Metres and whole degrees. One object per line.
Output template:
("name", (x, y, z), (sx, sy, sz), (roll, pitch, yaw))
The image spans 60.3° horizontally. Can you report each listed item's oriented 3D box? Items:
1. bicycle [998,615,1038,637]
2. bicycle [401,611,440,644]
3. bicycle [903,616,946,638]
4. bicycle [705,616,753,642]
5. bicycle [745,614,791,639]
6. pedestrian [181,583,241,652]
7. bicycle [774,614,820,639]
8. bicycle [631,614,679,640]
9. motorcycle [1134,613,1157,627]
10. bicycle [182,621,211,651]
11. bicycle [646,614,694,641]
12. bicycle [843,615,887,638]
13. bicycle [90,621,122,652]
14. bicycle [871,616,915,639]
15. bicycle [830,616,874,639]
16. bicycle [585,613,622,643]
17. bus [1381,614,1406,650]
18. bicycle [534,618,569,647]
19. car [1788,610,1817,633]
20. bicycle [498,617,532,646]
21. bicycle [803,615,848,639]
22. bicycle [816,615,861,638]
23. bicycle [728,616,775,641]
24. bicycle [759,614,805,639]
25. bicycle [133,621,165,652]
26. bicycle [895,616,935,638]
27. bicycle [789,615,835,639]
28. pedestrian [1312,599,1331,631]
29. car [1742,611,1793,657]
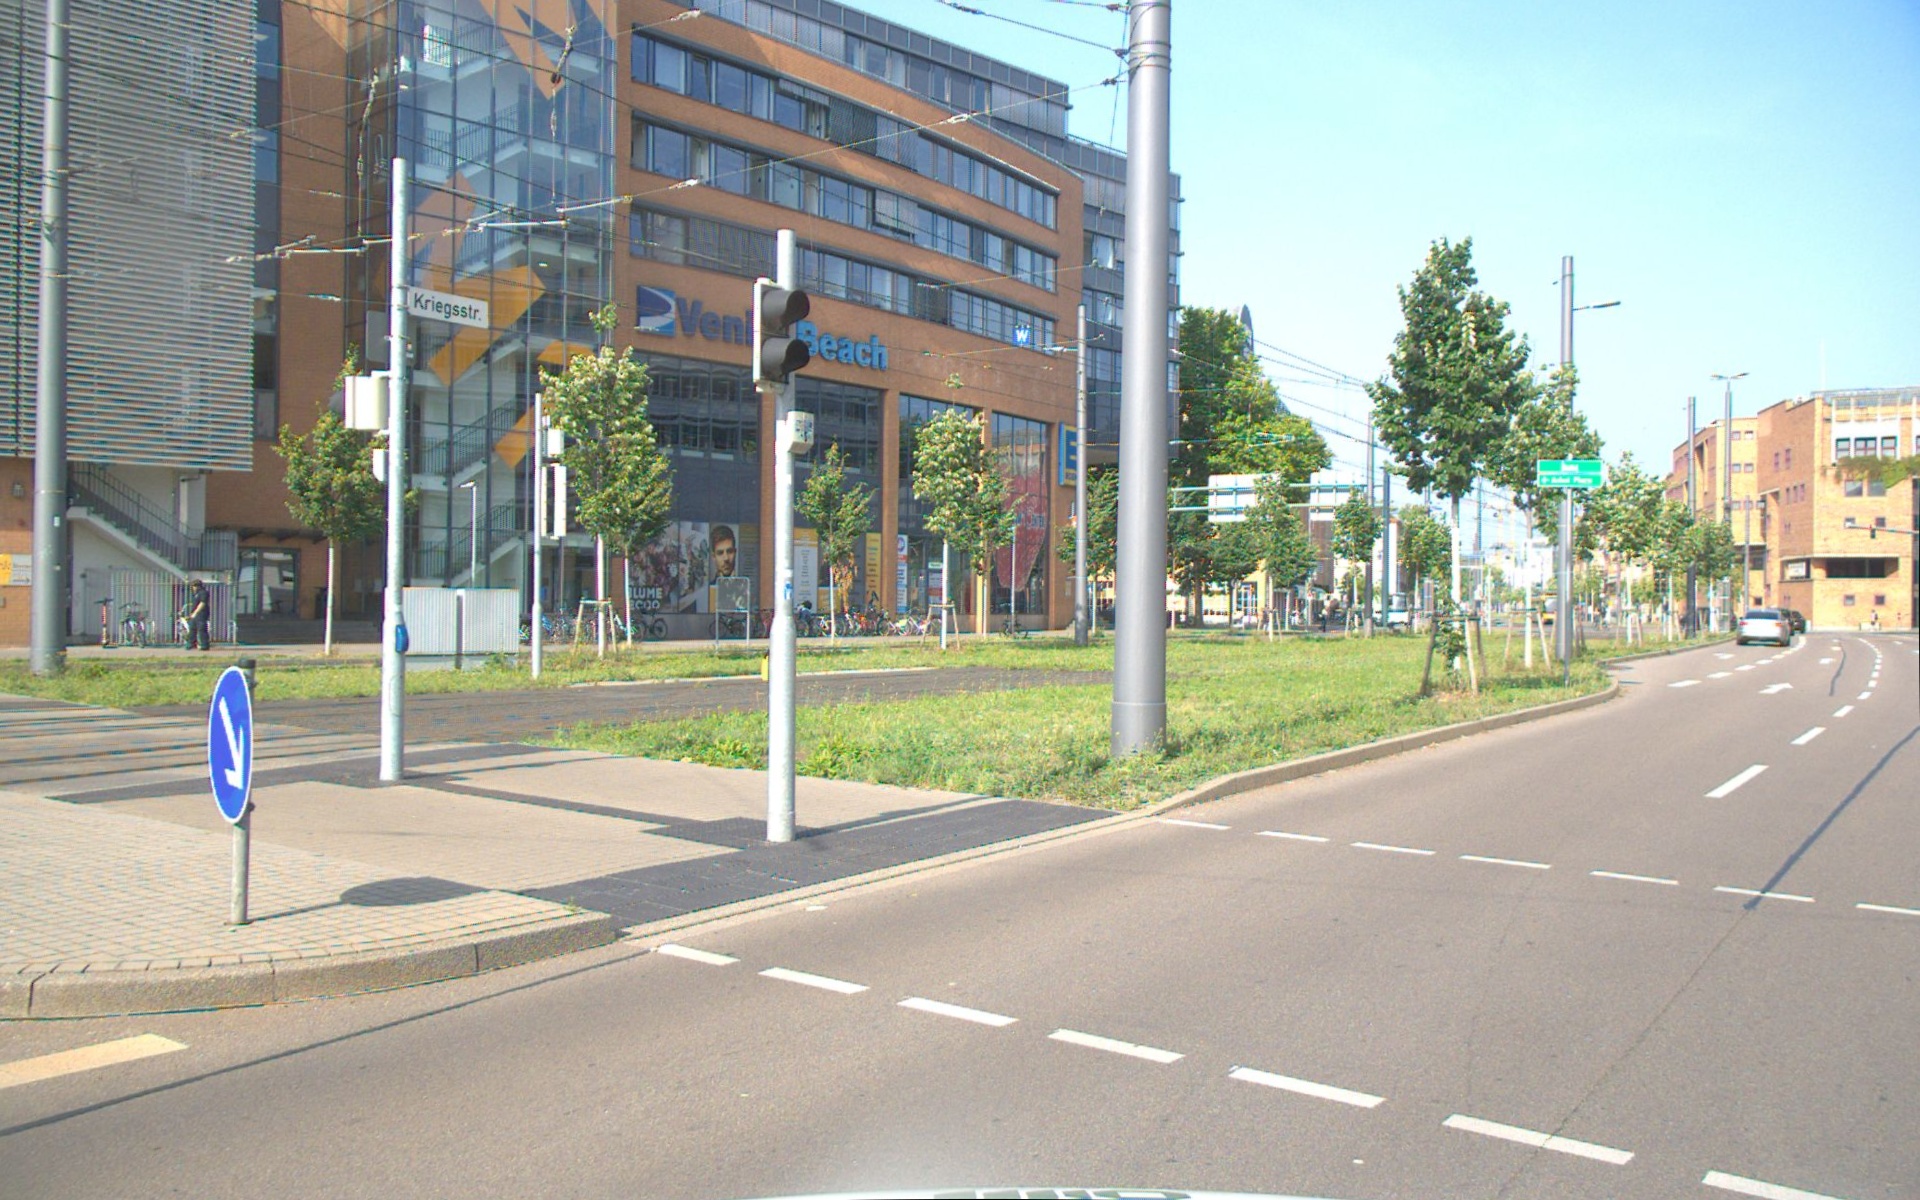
("bicycle", (2.454, 1.095, 70.032), (1.652, 0.923, 0.705), (0, -1, 44))
("bicycle", (-16.136, 0.808, 49.458), (1.557, 0.956, 0.408), (0, 0, 44))
("bicycle", (-1.568, 1.193, 73.055), (2.016, 0.937, 0.570), (0, 0, 39))
("bicycle", (-8.817, 1.105, 63.110), (2.016, 0.937, 0.570), (0, 0, 39))
("bicycle", (-7.543, 1.026, 64.849), (2.016, 0.937, 0.570), (0, 0, 39))
("pedestrian", (-19.319, 0.446, 42.666), (0.806, 1.749, 1.168), (0, 0, 44))
("bicycle", (-6.548, 1.062, 66.237), (2.016, 0.937, 0.570), (0, 0, 39))
("bicycle", (-11.117, 0.976, 60.269), (2.016, 0.937, 0.570), (0, 0, 39))
("motorcycle", (13.769, 1.475, 122.623), (1.655, 1.012, 0.284), (1, 1, 20))
("bicycle", (-20.008, 0.944, 43.342), (0.358, 0.765, 1.007), (1, 0, -44))
("bicycle", (-10.688, 1.002, 60.865), (2.016, 0.937, 0.570), (0, 0, 39))
("bicycle", (-4.015, 1.131, 69.855), (2.016, 0.937, 0.570), (0, 0, 39))
("bicycle", (-21.584, 0.916, 41.809), (0.449, 0.765, 0.990), (1, 0, -44))
("bicycle", (-2.875, 1.165, 71.072), (2.016, 0.937, 0.570), (0, 0, 39))
("bicycle", (-4.524, 1.137, 69.114), (2.016, 0.937, 0.570), (0, 0, 39))
("bicycle", (-11.739, 0.923, 54.438), (0.408, 0.956, 1.558), (1, 0, -45))
("bus", (50.201, 3.790, 191.566), (2.688, 3.990, 12.224), (1, -2, 15))
("bicycle", (-13.072, 1.023, 52.901), (1.441, 0.845, 0.255), (3, 0, 41))
("car", (59.750, 1.521, 117.360), (1.738, 1.536, 3.517), (0, -2, 25))
("bicycle", (-13.948, 0.978, 51.817), (1.441, 0.902, 0.255), (0, -2, 41))
("bicycle", (-5.525, 1.101, 67.685), (2.016, 0.937, 0.570), (0, 0, 39))
("bicycle", (-5.012, 1.093, 68.371), (2.016, 0.937, 0.570), (0, 0, 39))
("bicycle", (-8.086, 1.111, 64.194), (2.016, 0.937, 0.570), (0, 0, 39))
("bicycle", (-7.057, 1.039, 65.572), (2.016, 0.937, 0.570), (0, 0, 39))
("bicycle", (-20.835, 0.939, 42.496), (0.449, 0.765, 0.990), (1, 0, -44))
("bicycle", (-1.987, 1.167, 72.452), (2.016, 0.937, 0.379), (0, 0, 39))
("bicycle", (-5.989, 1.100, 66.960), (2.016, 0.937, 0.570), (0, 0, 39))
("pedestrian", (23.625, 0.967, 107.984), (1.131, 2.049, 0.776), (1, -2, 17))
("car", (32.637, 1.402, 66.803), (1.672, 1.786, 3.884), (0, -2, 28))
